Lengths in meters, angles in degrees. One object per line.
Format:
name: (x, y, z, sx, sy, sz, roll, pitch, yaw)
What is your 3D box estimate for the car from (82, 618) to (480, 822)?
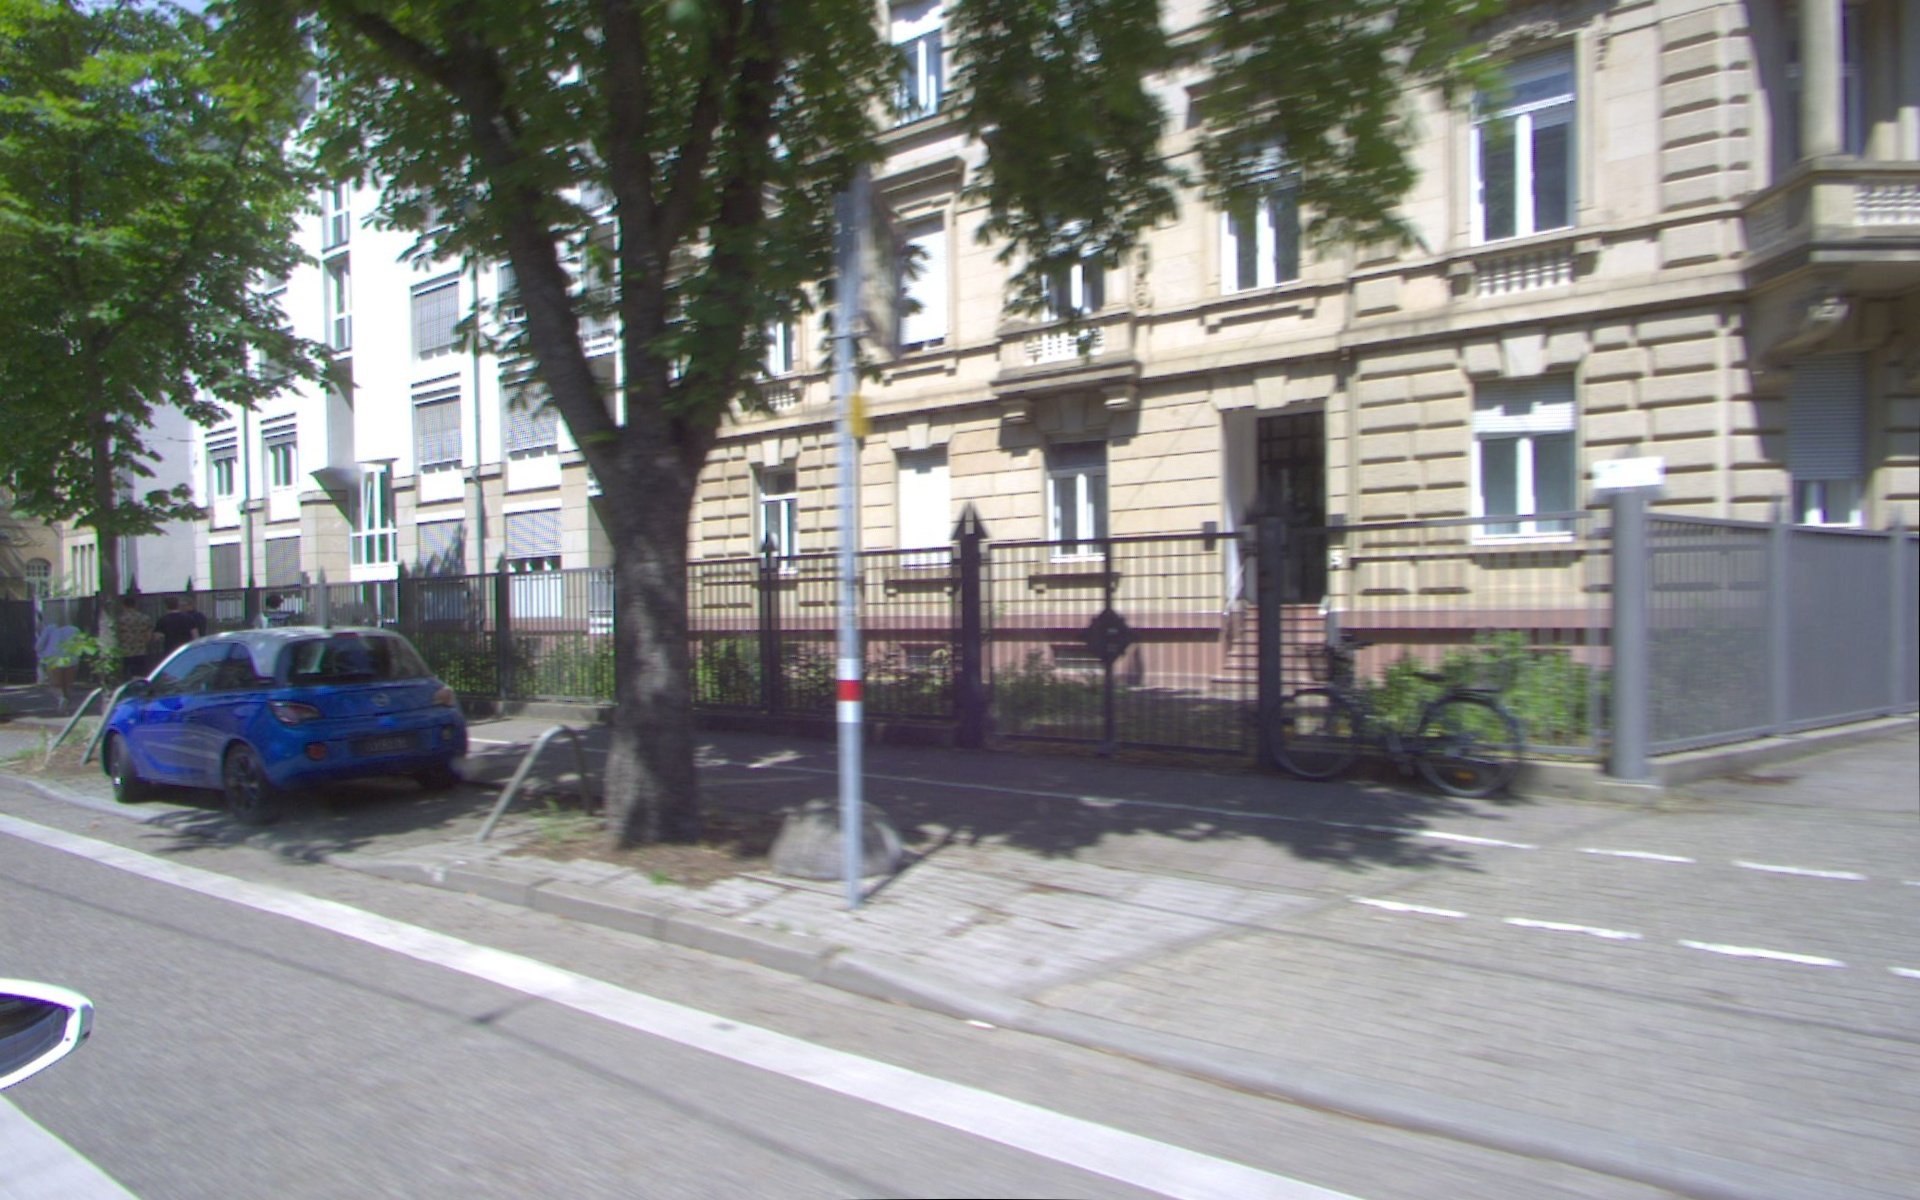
car: (-6.110, 0.919, 8.962, 3.423, 1.472, 1.688, -1, 0, 32)

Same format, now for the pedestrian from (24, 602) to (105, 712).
pedestrian: (-14.129, 0.870, 15.799, 0.961, 1.673, 0.764, 0, 0, 36)

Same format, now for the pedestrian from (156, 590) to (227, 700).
pedestrian: (-13.216, 0.751, 17.216, 0.963, 1.836, 0.659, 0, 1, 32)

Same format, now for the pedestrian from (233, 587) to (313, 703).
pedestrian: (-11.171, 0.716, 16.285, 1.068, 1.821, 0.683, -1, 0, 32)

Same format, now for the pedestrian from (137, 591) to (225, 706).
pedestrian: (-12.558, 0.760, 16.142, 1.037, 1.785, 0.786, 0, 0, 32)

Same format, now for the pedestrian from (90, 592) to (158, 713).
pedestrian: (-12.923, 0.781, 15.481, 0.937, 1.800, 0.700, 0, 1, 45)

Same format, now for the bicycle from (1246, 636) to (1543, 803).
bicycle: (3.200, 0.828, 7.476, 1.953, 1.085, 0.606, -1, 0, 34)
